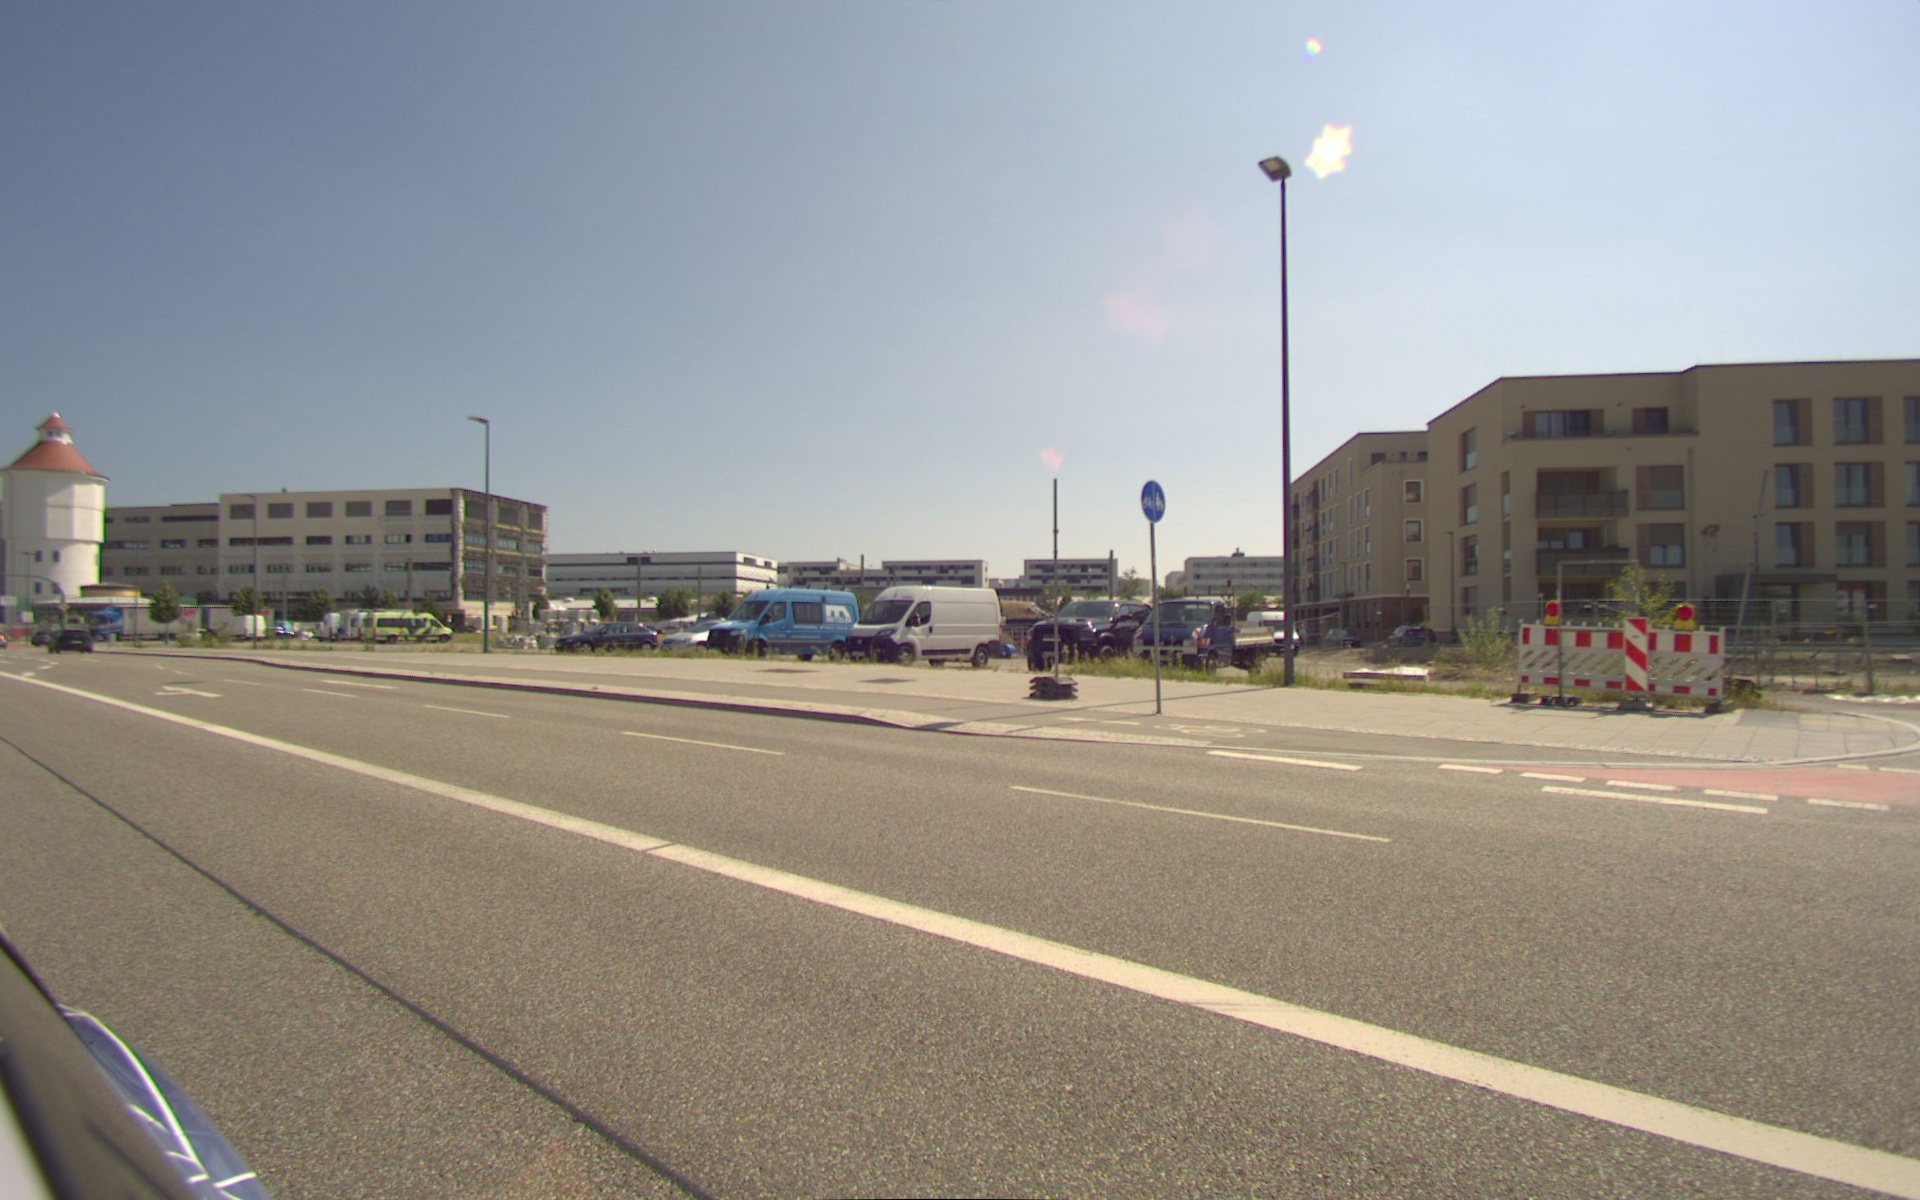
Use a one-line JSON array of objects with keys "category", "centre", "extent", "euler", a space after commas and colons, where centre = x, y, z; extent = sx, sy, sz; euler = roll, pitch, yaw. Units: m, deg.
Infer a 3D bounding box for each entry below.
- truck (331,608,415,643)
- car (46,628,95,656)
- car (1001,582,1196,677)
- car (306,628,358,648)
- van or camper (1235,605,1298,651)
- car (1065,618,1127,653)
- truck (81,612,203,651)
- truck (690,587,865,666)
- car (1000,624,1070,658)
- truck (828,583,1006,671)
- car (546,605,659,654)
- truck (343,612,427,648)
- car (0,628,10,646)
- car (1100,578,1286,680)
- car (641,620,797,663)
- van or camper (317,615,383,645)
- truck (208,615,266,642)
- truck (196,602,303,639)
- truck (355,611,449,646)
[{"category": "truck", "centre": [-53.190, 2.279, 91.750], "extent": [2.570, 2.923, 6.080], "euler": [0, 1, 42]}, {"category": "car", "centre": [-55.612, 2.603, 63.249], "extent": [4.387, 1.640, 1.882], "euler": [-1, -2, 43]}, {"category": "car", "centre": [3.753, 0.761, 26.439], "extent": [2.393, 2.182, 5.824], "euler": [-1, -2, 39]}, {"category": "car", "centre": [-59.634, 3.570, 96.107], "extent": [1.655, 1.771, 3.830], "euler": [-2, -1, 37]}, {"category": "van or camper", "centre": [18.192, 1.694, 60.368], "extent": [1.909, 2.578, 5.927], "euler": [0, -2, 0]}, {"category": "car", "centre": [8.900, 2.296, 66.372], "extent": [3.951, 2.258, 1.996], "euler": [0, -2, 6]}, {"category": "truck", "centre": [-96.012, 3.590, 119.135], "extent": [3.281, 4.098, 10.895], "euler": [0, 0, 23]}, {"category": "truck", "centre": [-6.294, 0.947, 35.635], "extent": [2.274, 2.563, 5.941], "euler": [-2, -3, 41]}, {"category": "car", "centre": [4.481, 2.431, 60.180], "extent": [3.959, 1.863, 1.992], "euler": [-2, -1, 12]}, {"category": "truck", "centre": [-1.157, 0.834, 30.411], "extent": [2.273, 2.381, 5.511], "euler": [-2, -3, 39]}, {"category": "car", "centre": [-14.514, 1.211, 41.212], "extent": [3.938, 1.918, 1.830], "euler": [2, -3, -42]}, {"category": "truck", "centre": [-49.941, 2.580, 87.989], "extent": [2.569, 2.845, 5.776], "euler": [0, 1, 40]}, {"category": "car", "centre": [-82.338, 3.115, 85.950], "extent": [4.384, 1.507, 1.883], "euler": [-1, -2, 41]}, {"category": "car", "centre": [5.795, 0.721, 24.591], "extent": [2.392, 2.190, 5.391], "euler": [-2, -2, 37]}, {"category": "car", "centre": [-8.927, 1.507, 37.983], "extent": [2.105, 1.485, 5.595], "euler": [-1, -2, 39]}, {"category": "van or camper", "centre": [-56.709, 2.770, 94.164], "extent": [2.258, 2.682, 4.849], "euler": [-2, -1, 41]}, {"category": "truck", "centre": [-72.075, 2.857, 100.912], "extent": [5.914, 2.675, 2.154], "euler": [-1, -2, 26]}, {"category": "truck", "centre": [-90.681, 2.514, 129.521], "extent": [3.331, 4.307, 10.840], "euler": [0, 0, 29]}, {"category": "truck", "centre": [-47.513, 2.398, 86.278], "extent": [2.599, 2.847, 6.572], "euler": [-2, -1, 38]}]
